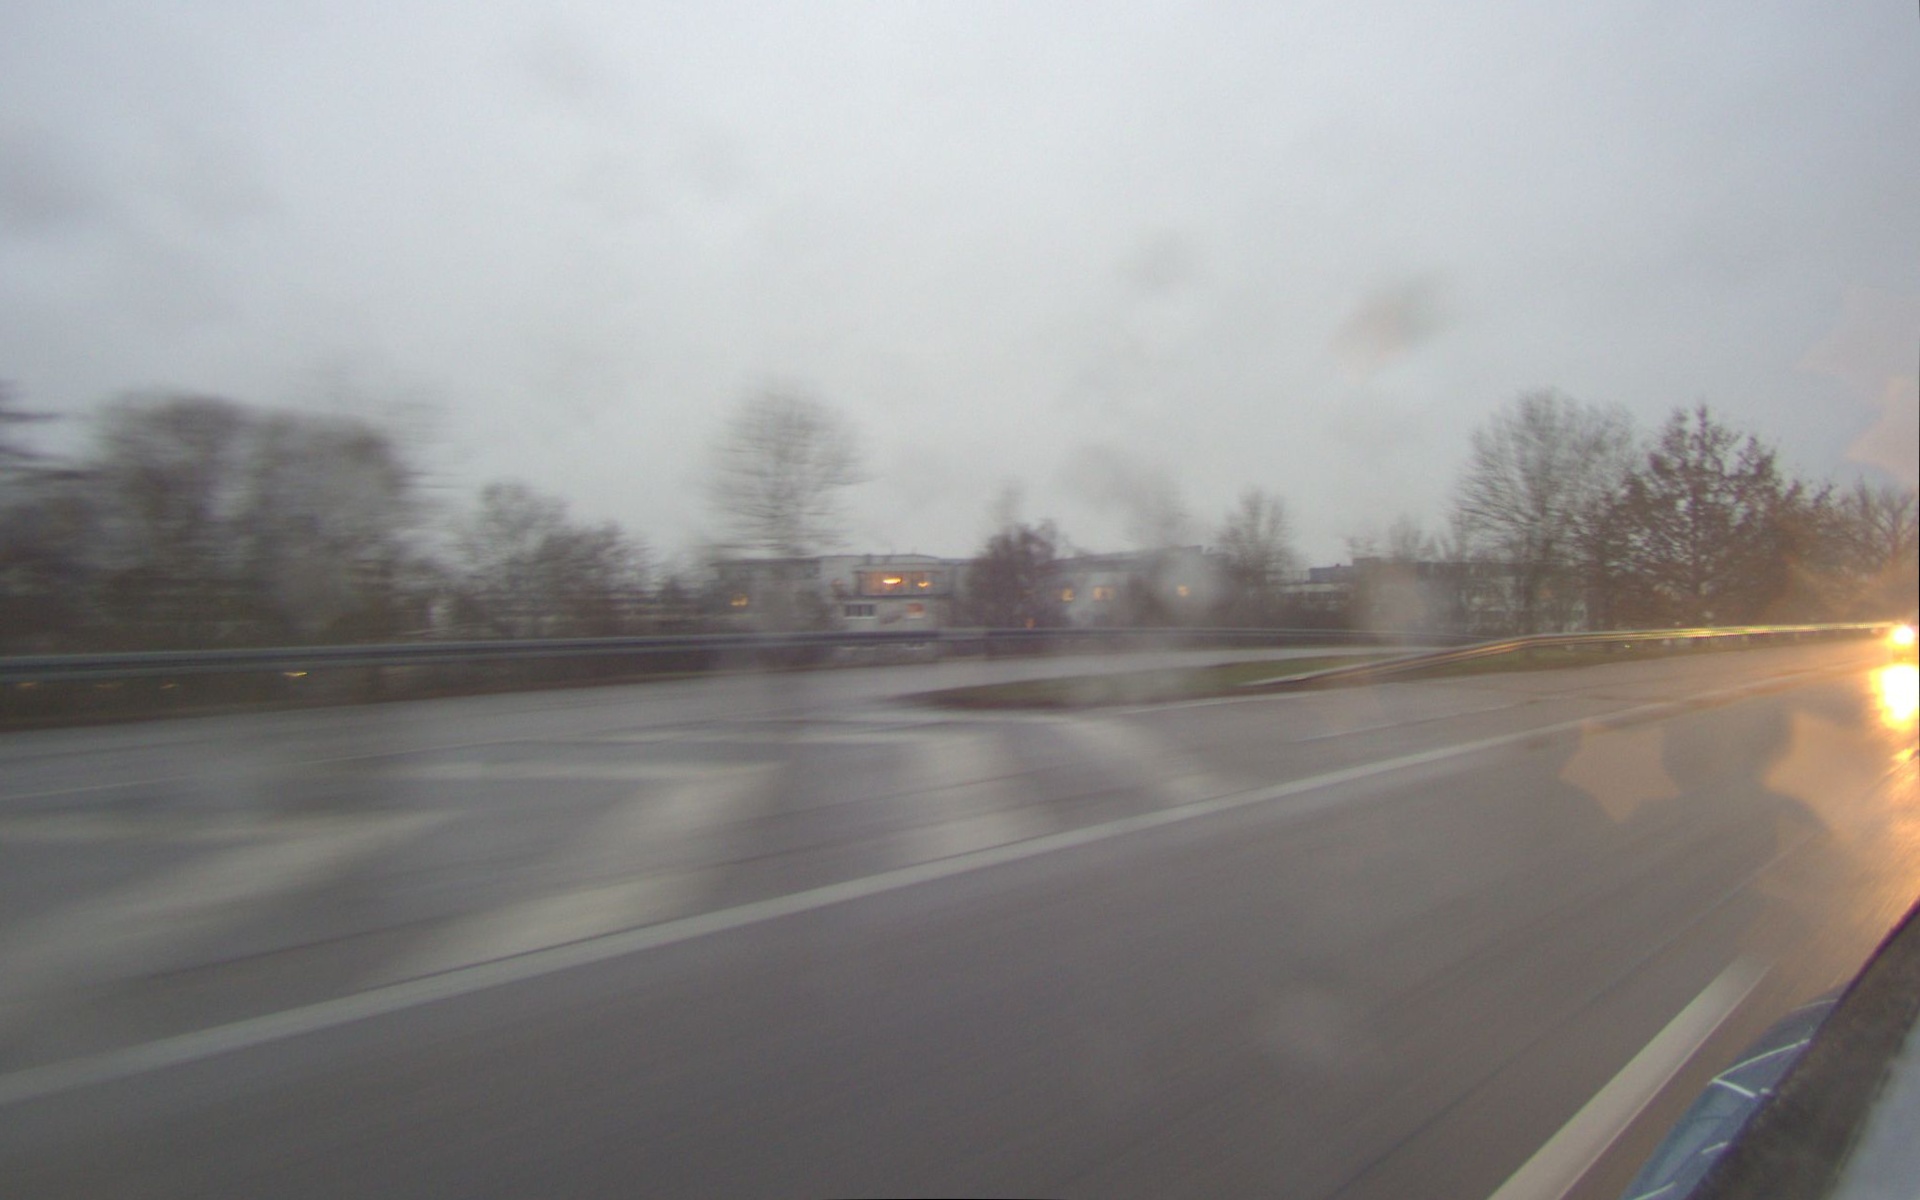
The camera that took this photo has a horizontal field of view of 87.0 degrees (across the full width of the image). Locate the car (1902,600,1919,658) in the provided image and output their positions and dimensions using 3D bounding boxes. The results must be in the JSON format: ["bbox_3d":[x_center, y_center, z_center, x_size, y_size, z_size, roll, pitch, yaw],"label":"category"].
[{"bbox_3d":[27.590,0.802,27.888,4.073,1.549,1.850,1,0,-39],"label":"car"}]
